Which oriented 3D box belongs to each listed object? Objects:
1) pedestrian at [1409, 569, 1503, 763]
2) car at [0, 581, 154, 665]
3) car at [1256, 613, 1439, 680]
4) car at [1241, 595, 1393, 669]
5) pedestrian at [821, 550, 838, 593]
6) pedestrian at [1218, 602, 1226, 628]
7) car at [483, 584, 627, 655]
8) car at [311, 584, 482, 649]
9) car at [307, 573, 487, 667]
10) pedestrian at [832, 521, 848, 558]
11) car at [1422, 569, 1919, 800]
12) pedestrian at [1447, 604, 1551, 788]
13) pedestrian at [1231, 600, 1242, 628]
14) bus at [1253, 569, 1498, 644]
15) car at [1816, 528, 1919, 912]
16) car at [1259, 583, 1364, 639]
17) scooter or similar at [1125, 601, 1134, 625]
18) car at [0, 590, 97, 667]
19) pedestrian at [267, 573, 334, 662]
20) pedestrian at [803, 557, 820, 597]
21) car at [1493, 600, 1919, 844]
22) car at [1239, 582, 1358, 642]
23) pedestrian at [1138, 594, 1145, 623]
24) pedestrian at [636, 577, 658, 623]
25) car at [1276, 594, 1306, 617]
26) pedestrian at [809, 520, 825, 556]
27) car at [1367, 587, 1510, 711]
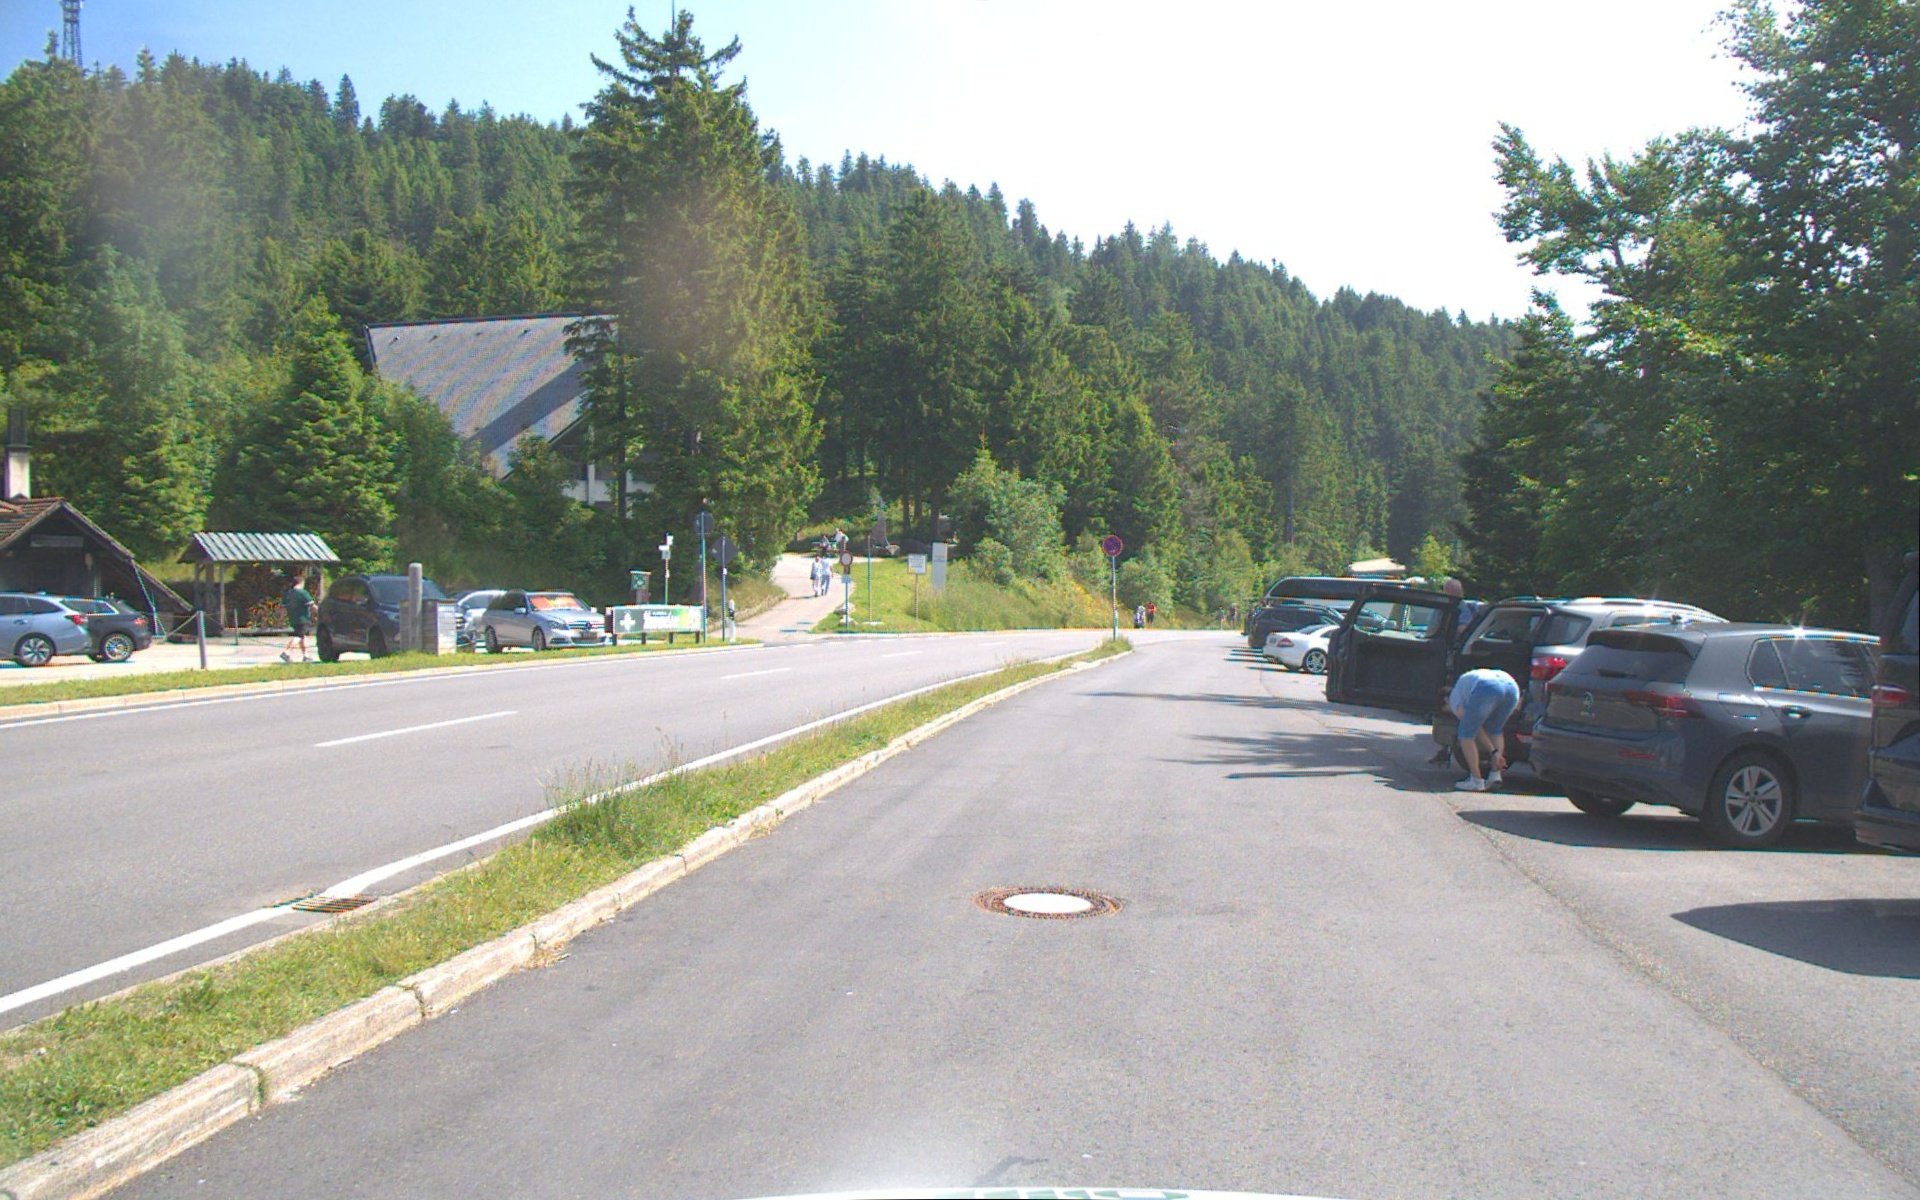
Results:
[{"bbox_3d":[4.733,0.615,15.802,0.568,1.791,0.632,3,0,-7],"label":"pedestrian"},{"bbox_3d":[-19.613,0.473,35.464,3.954,1.646,1.976,-2,2,-35],"label":"car"},{"bbox_3d":[10.179,1.214,43.569,4.370,1.321,1.580,5,1,-8],"label":"car"},{"bbox_3d":[10.315,0.908,48.042,3.906,1.728,2.001,5,2,1],"label":"car"},{"bbox_3d":[-5.673,-1.239,71.850,0.639,1.830,0.643,0,0,2],"label":"pedestrian"},{"bbox_3d":[19.544,1.099,123.434,0.609,1.933,0.655,-1,-2,8],"label":"pedestrian"},{"bbox_3d":[-9.193,0.404,37.374,1.726,1.466,3.916,-2,1,-38],"label":"car"},{"bbox_3d":[-14.799,0.402,43.543,3.966,1.520,1.659,-2,3,-42],"label":"car"},{"bbox_3d":[-10.672,0.350,31.219,1.774,1.662,4.147,1,0,-41],"label":"car"},{"bbox_3d":[-6.868,-3.463,94.619,0.798,2.048,0.853,-1,1,0],"label":"pedestrian"},{"bbox_3d":[6.503,0.748,15.053,3.927,1.690,1.989,5,-1,-19],"label":"car"},{"bbox_3d":[4.383,0.764,13.489,0.757,1.427,0.670,-1,1,15],"label":"pedestrian"},{"bbox_3d":[20.474,1.019,122.449,0.717,2.049,0.863,-1,-1,8],"label":"pedestrian"},{"bbox_3d":[22.638,0.261,90.539,12.607,3.640,2.980,2,2,25],"label":"bus"},{"bbox_3d":[7.137,0.713,8.425,4.672,1.912,1.962,3,1,-11],"label":"car"},{"bbox_3d":[13.856,0.403,65.366,3.903,1.845,1.942,5,2,11],"label":"car"},{"bbox_3d":[10.276,0.771,100.253,0.472,1.404,0.818,-1,1,8],"label":"scooter or similar"},{"bbox_3d":[-19.281,0.598,32.444,3.956,1.444,1.663,-2,0,-36],"label":"car"},{"bbox_3d":[-13.403,0.352,33.638,0.877,1.764,0.961,-1,1,8],"label":"pedestrian"},{"bbox_3d":[-6.364,-1.002,71.056,0.639,1.696,0.643,0,-1,2],"label":"pedestrian"},{"bbox_3d":[6.067,0.847,11.756,3.918,1.468,1.834,3,1,-13],"label":"car"},{"bbox_3d":[11.878,0.398,58.237,3.903,1.749,1.869,4,2,9],"label":"car"},{"bbox_3d":[11.131,0.524,101.484,0.386,1.777,0.406,-1,1,11],"label":"pedestrian"},{"bbox_3d":[-10.824,0.005,57.199,0.565,1.559,0.553,-1,1,8],"label":"pedestrian"},{"bbox_3d":[25.546,0.382,127.660,1.951,1.691,4.003,0,1,15],"label":"car"},{"bbox_3d":[-8.138,-3.529,93.894,0.781,2.048,0.940,-1,1,0],"label":"pedestrian"},{"bbox_3d":[8.955,0.842,31.332,1.865,2.006,4.823,5,1,9],"label":"car"}]
